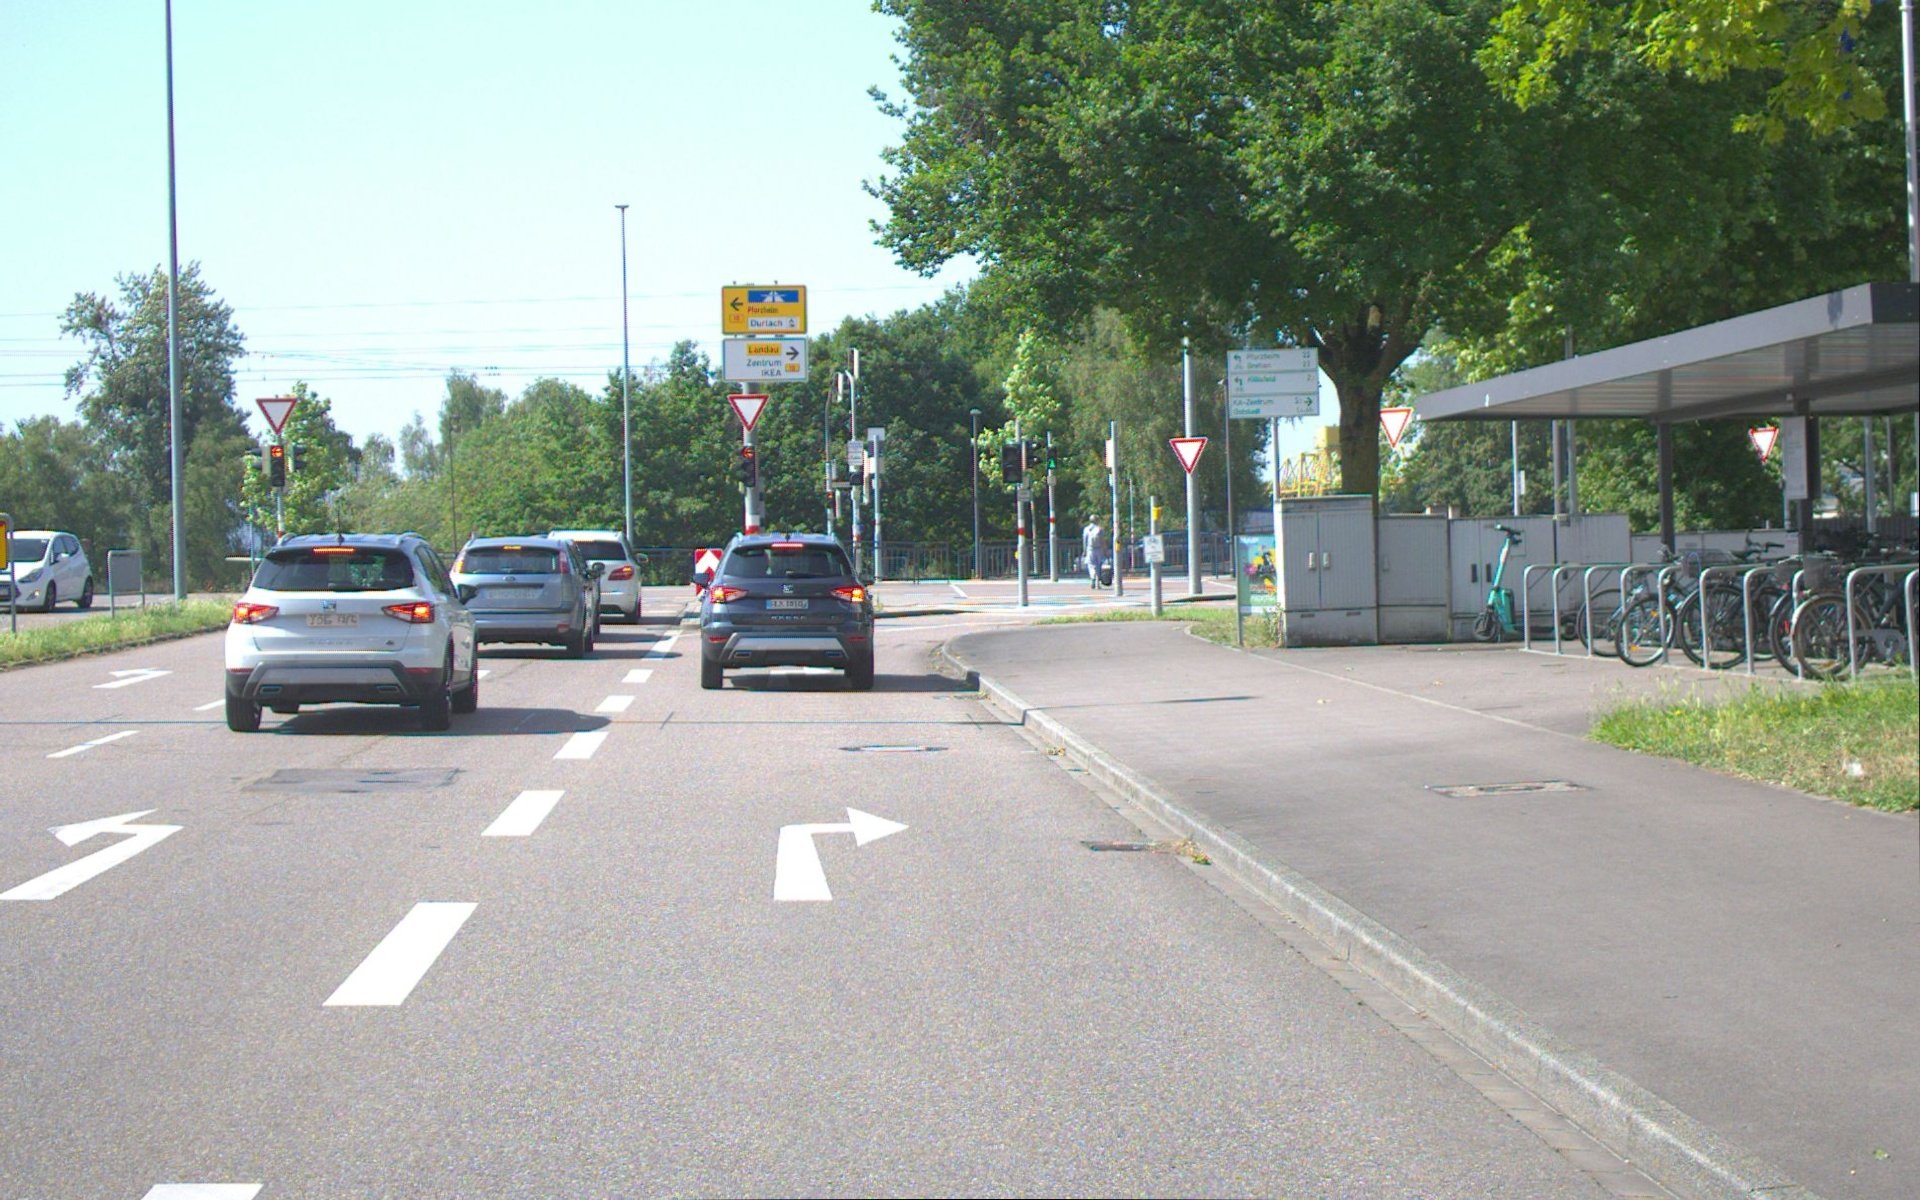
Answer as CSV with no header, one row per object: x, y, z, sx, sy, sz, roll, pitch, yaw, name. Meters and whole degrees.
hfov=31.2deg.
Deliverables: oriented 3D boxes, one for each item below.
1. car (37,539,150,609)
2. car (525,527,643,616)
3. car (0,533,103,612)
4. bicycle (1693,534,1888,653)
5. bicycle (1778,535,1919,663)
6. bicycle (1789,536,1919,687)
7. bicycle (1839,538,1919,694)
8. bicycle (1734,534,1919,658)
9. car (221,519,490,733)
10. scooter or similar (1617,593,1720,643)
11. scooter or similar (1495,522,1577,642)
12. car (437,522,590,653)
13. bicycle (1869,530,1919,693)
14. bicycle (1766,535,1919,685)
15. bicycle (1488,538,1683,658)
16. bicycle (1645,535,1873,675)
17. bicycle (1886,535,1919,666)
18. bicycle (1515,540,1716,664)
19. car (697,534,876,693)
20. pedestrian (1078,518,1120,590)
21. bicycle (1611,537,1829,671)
-13.187,-0.411,52.416,1.117,1.000,2.492,-2,1,-1,car
-6.340,-0.510,58.303,1.741,1.443,4.389,-1,1,-3,car
-18.870,-0.551,69.533,1.794,1.541,4.086,-1,1,4,car
8.043,-0.068,33.316,1.758,1.092,0.452,-2,1,-3,bicycle
8.263,-0.021,30.746,1.758,1.092,0.452,-2,1,-3,bicycle
7.166,0.069,25.780,1.758,1.092,0.452,-2,1,-3,bicycle
7.307,0.092,24.857,1.758,1.092,0.452,-2,1,-3,bicycle
8.212,-0.044,32.123,1.828,1.092,0.452,-2,1,-3,bicycle
-4.825,0.154,27.879,1.631,1.493,3.871,-1,3,-2,car
7.230,0.182,35.067,0.917,0.450,0.960,-3,0,17,scooter or similar
6.198,-0.197,36.990,0.776,1.261,0.284,-2,1,-6,scooter or similar
-5.580,-0.189,43.356,1.706,1.568,4.175,0,1,-5,car
7.175,0.049,23.536,1.758,1.092,0.463,-2,1,-3,bicycle
7.115,0.063,26.307,1.758,1.092,0.452,-2,1,-3,bicycle
6.018,-0.027,33.112,1.758,1.092,0.452,-2,1,0,bicycle
6.627,0.036,28.526,1.758,1.092,0.452,-2,1,-3,bicycle
8.828,-0.026,29.257,1.758,1.092,0.452,-2,1,-3,bicycle
6.116,0.010,32.116,1.758,1.092,0.452,-2,1,-3,bicycle
-1.797,0.100,34.784,1.669,1.518,3.377,0,1,-5,car
3.009,-1.007,74.348,0.773,1.505,1.007,-1,2,8,pedestrian
6.566,0.029,29.712,1.758,1.092,0.452,-2,1,-3,bicycle
